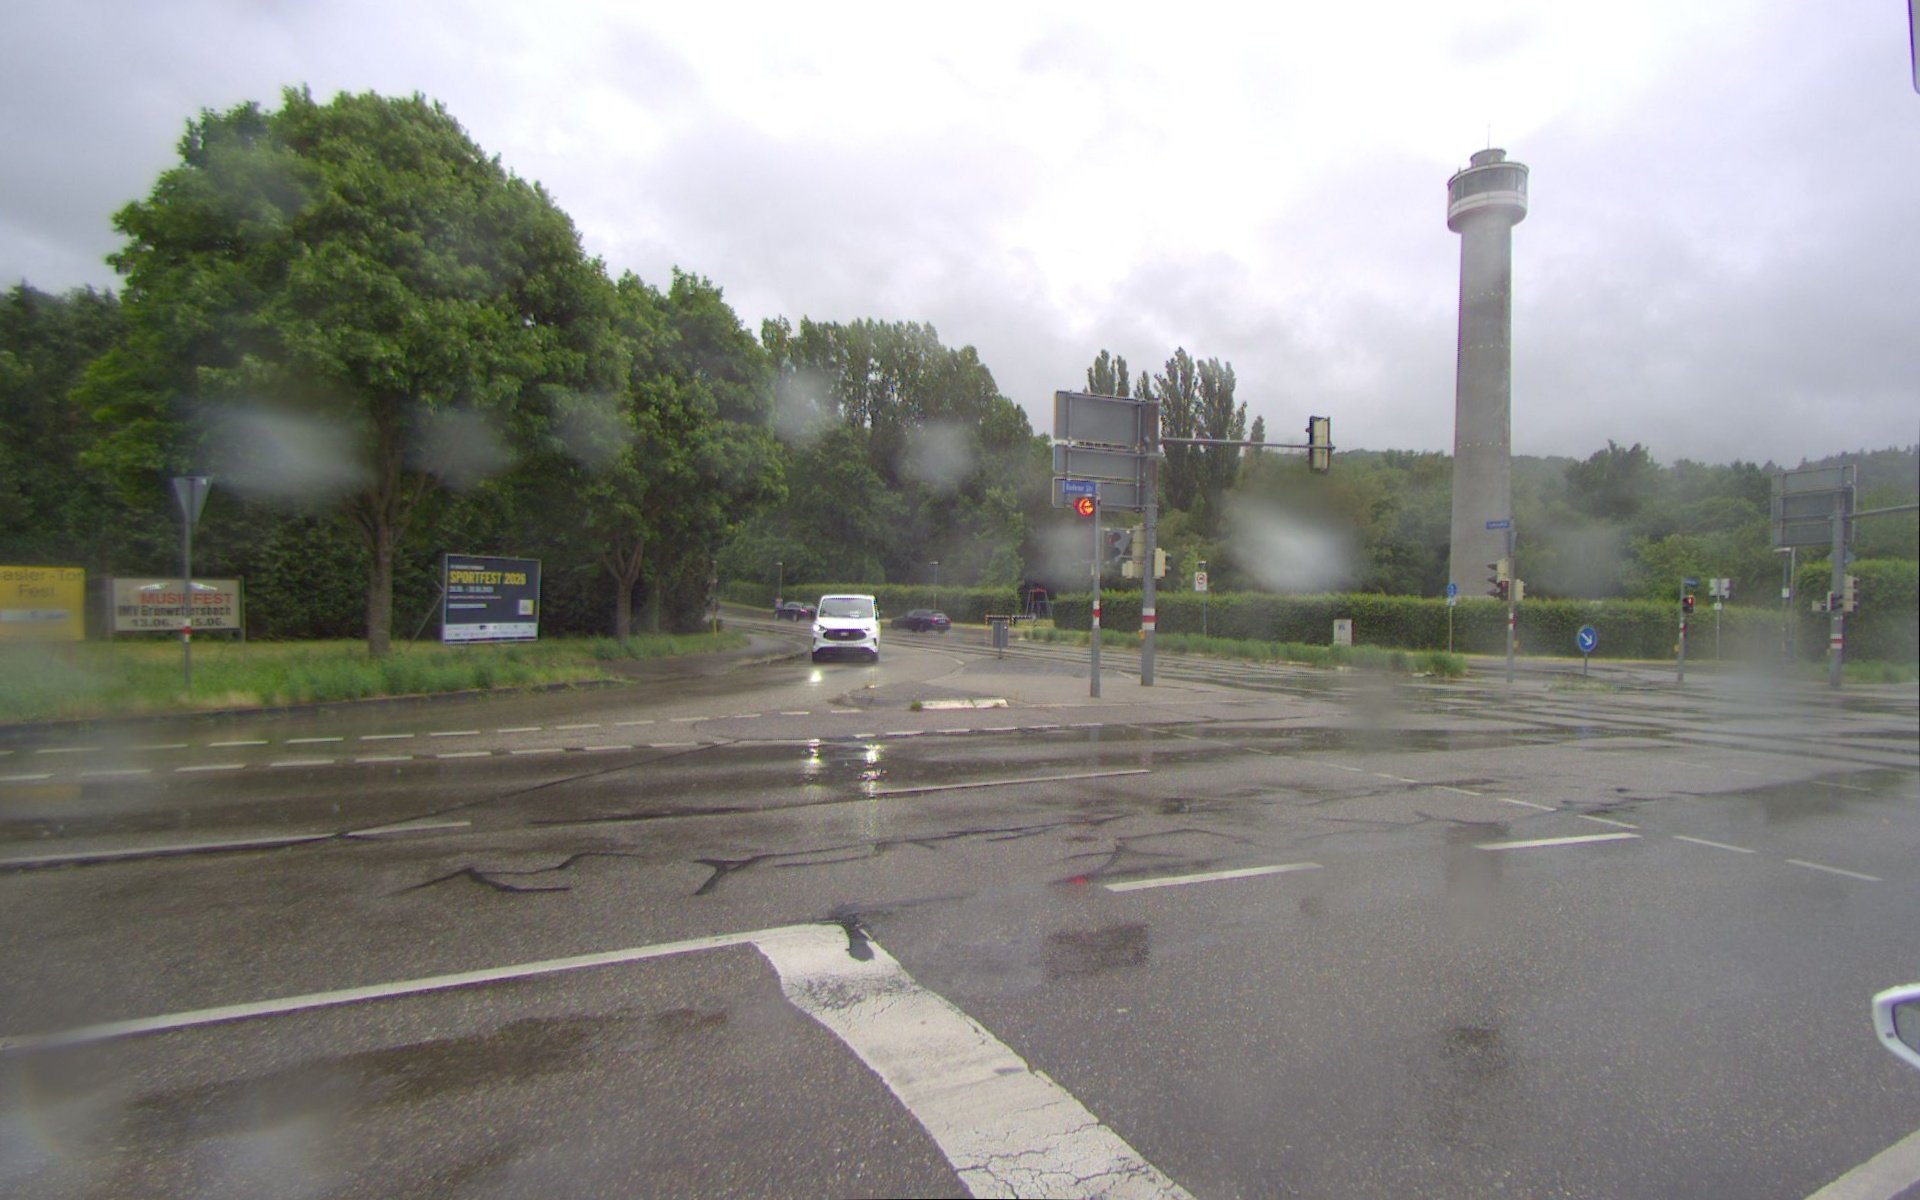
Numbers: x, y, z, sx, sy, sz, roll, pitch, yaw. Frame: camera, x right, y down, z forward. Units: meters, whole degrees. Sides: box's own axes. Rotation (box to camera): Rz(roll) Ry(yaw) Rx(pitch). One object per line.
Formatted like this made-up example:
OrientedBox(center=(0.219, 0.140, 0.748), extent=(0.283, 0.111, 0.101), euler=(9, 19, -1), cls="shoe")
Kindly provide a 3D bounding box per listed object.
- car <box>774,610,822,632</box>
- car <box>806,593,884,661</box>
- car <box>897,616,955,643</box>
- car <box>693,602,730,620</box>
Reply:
OrientedBox(center=(-12.219, 1.575, 75.506), extent=(1.746, 1.606, 4.073), euler=(2, -1, -39), cls="car")
OrientedBox(center=(-3.450, 0.803, 31.002), extent=(2.072, 1.917, 4.789), euler=(1, -1, -3), cls="car")
OrientedBox(center=(-2.197, 1.819, 63.385), extent=(1.744, 1.606, 4.079), euler=(1, -1, -35), cls="car")
OrientedBox(center=(-22.450, 0.980, 90.732), extent=(1.745, 1.606, 4.075), euler=(2, -1, -37), cls="car")
